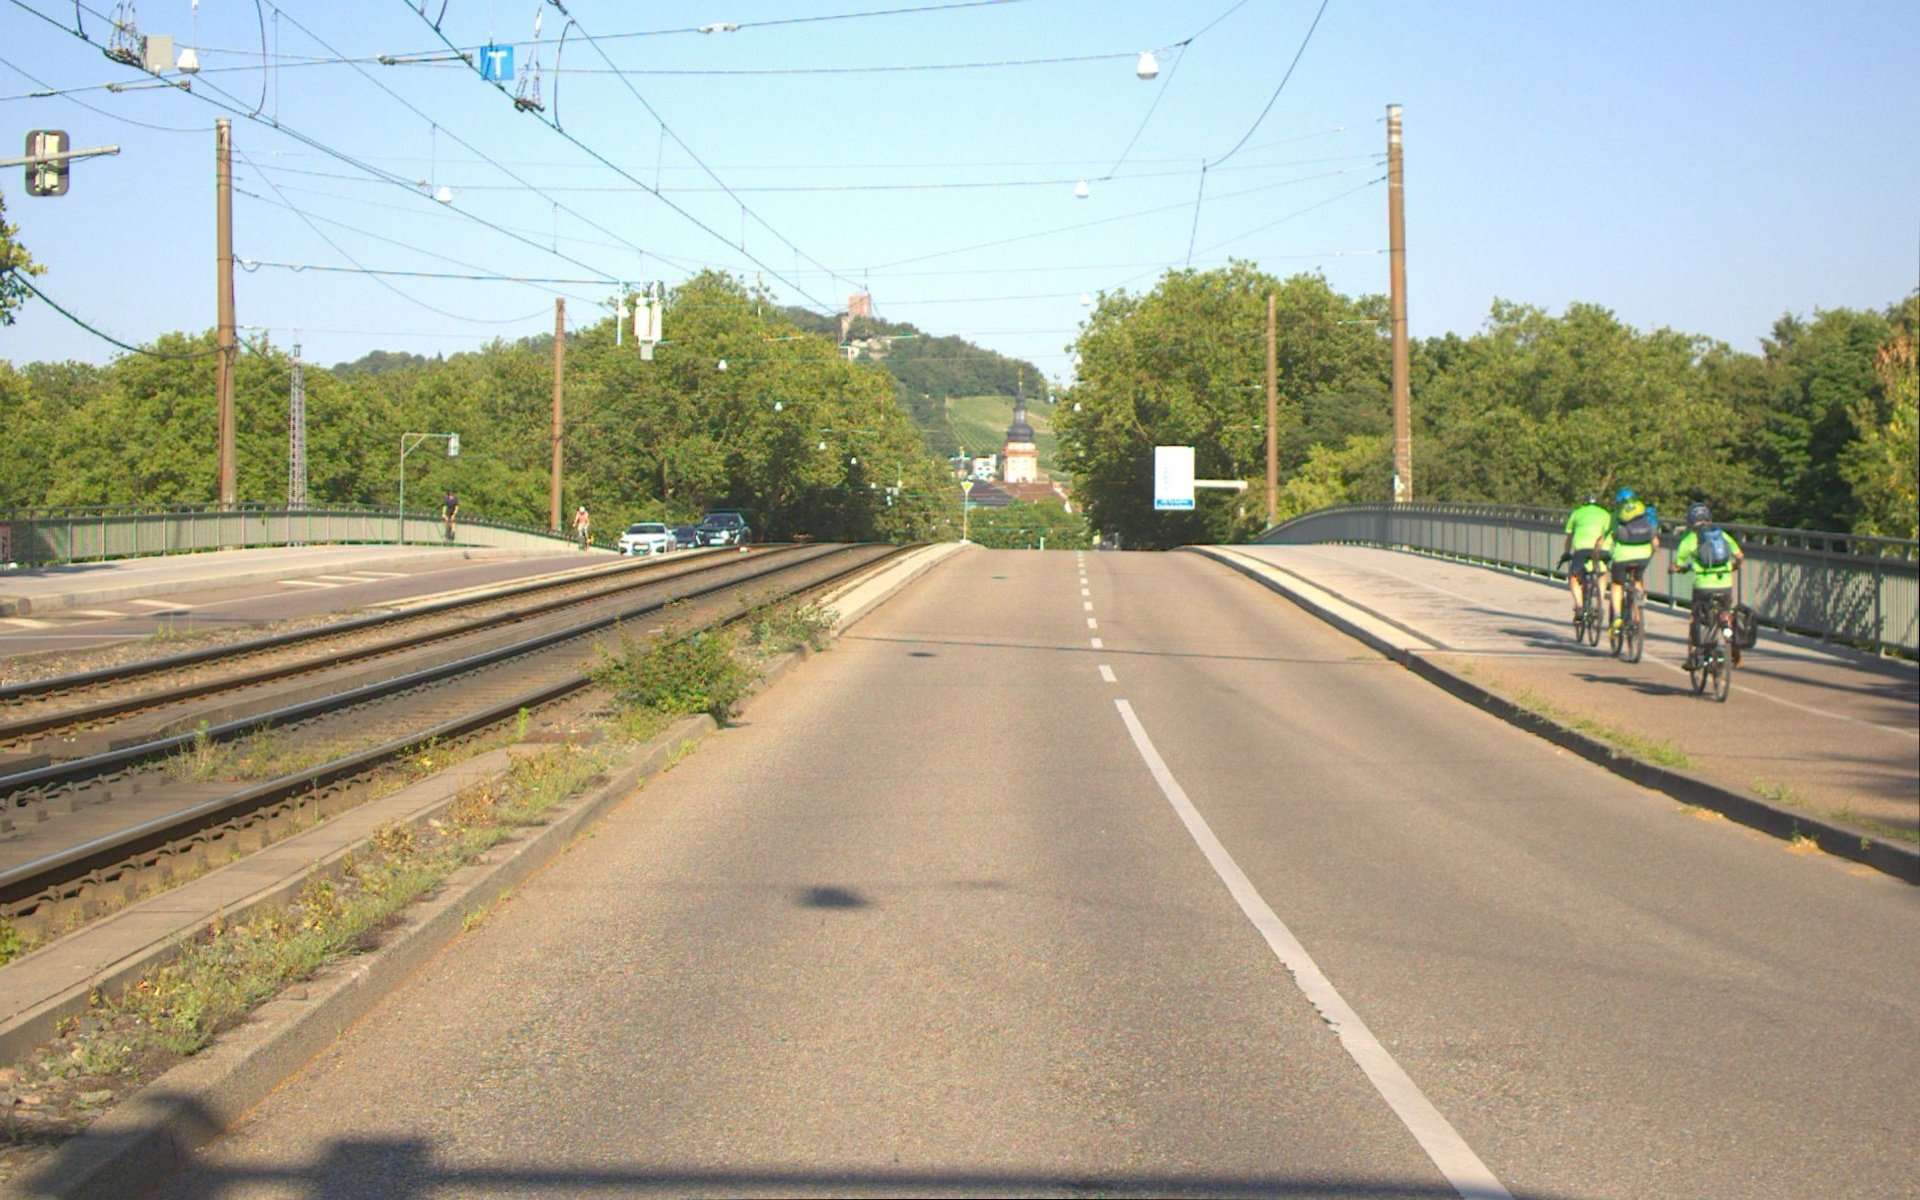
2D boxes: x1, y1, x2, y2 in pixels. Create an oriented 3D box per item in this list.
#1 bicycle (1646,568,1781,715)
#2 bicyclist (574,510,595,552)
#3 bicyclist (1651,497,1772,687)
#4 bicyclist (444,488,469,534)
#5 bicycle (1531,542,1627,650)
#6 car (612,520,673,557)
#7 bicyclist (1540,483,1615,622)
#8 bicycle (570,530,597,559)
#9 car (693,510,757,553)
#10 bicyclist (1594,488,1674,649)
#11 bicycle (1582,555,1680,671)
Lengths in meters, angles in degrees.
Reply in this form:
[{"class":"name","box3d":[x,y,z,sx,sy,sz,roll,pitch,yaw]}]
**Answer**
[{"class":"bicycle","box3d":[6.319,0.327,28.936,0.683,1.118,2.216,1,2,1]},{"class":"bicyclist","box3d":[-14.582,-2.689,133.394,0.625,1.627,0.935,1,1,4]},{"class":"bicyclist","box3d":[6.313,-0.080,28.904,0.812,1.557,0.896,1,2,1]},{"class":"bicyclist","box3d":[-15.766,-2.780,107.682,0.625,1.427,0.969,1,1,0]},{"class":"bicycle","box3d":[6.767,-0.064,37.686,0.625,1.118,2.260,1,1,0]},{"class":"car","box3d":[-11.883,-2.299,128.756,1.684,1.351,4.920,0,1,2]},{"class":"bicyclist","box3d":[6.769,-0.524,37.715,0.625,1.503,1.006,1,1,0]},{"class":"bicycle","box3d":[-14.592,-2.149,133.324,0.625,1.118,2.259,1,1,4]},{"class":"car","box3d":[-8.368,-2.455,122.753,1.849,1.497,4.219,0,1,2]},{"class":"bicyclist","box3d":[6.777,-0.321,34.604,0.625,1.587,0.931,1,1,1]},{"class":"bicycle","box3d":[6.735,0.115,34.597,0.625,1.118,2.042,1,1,1]}]
